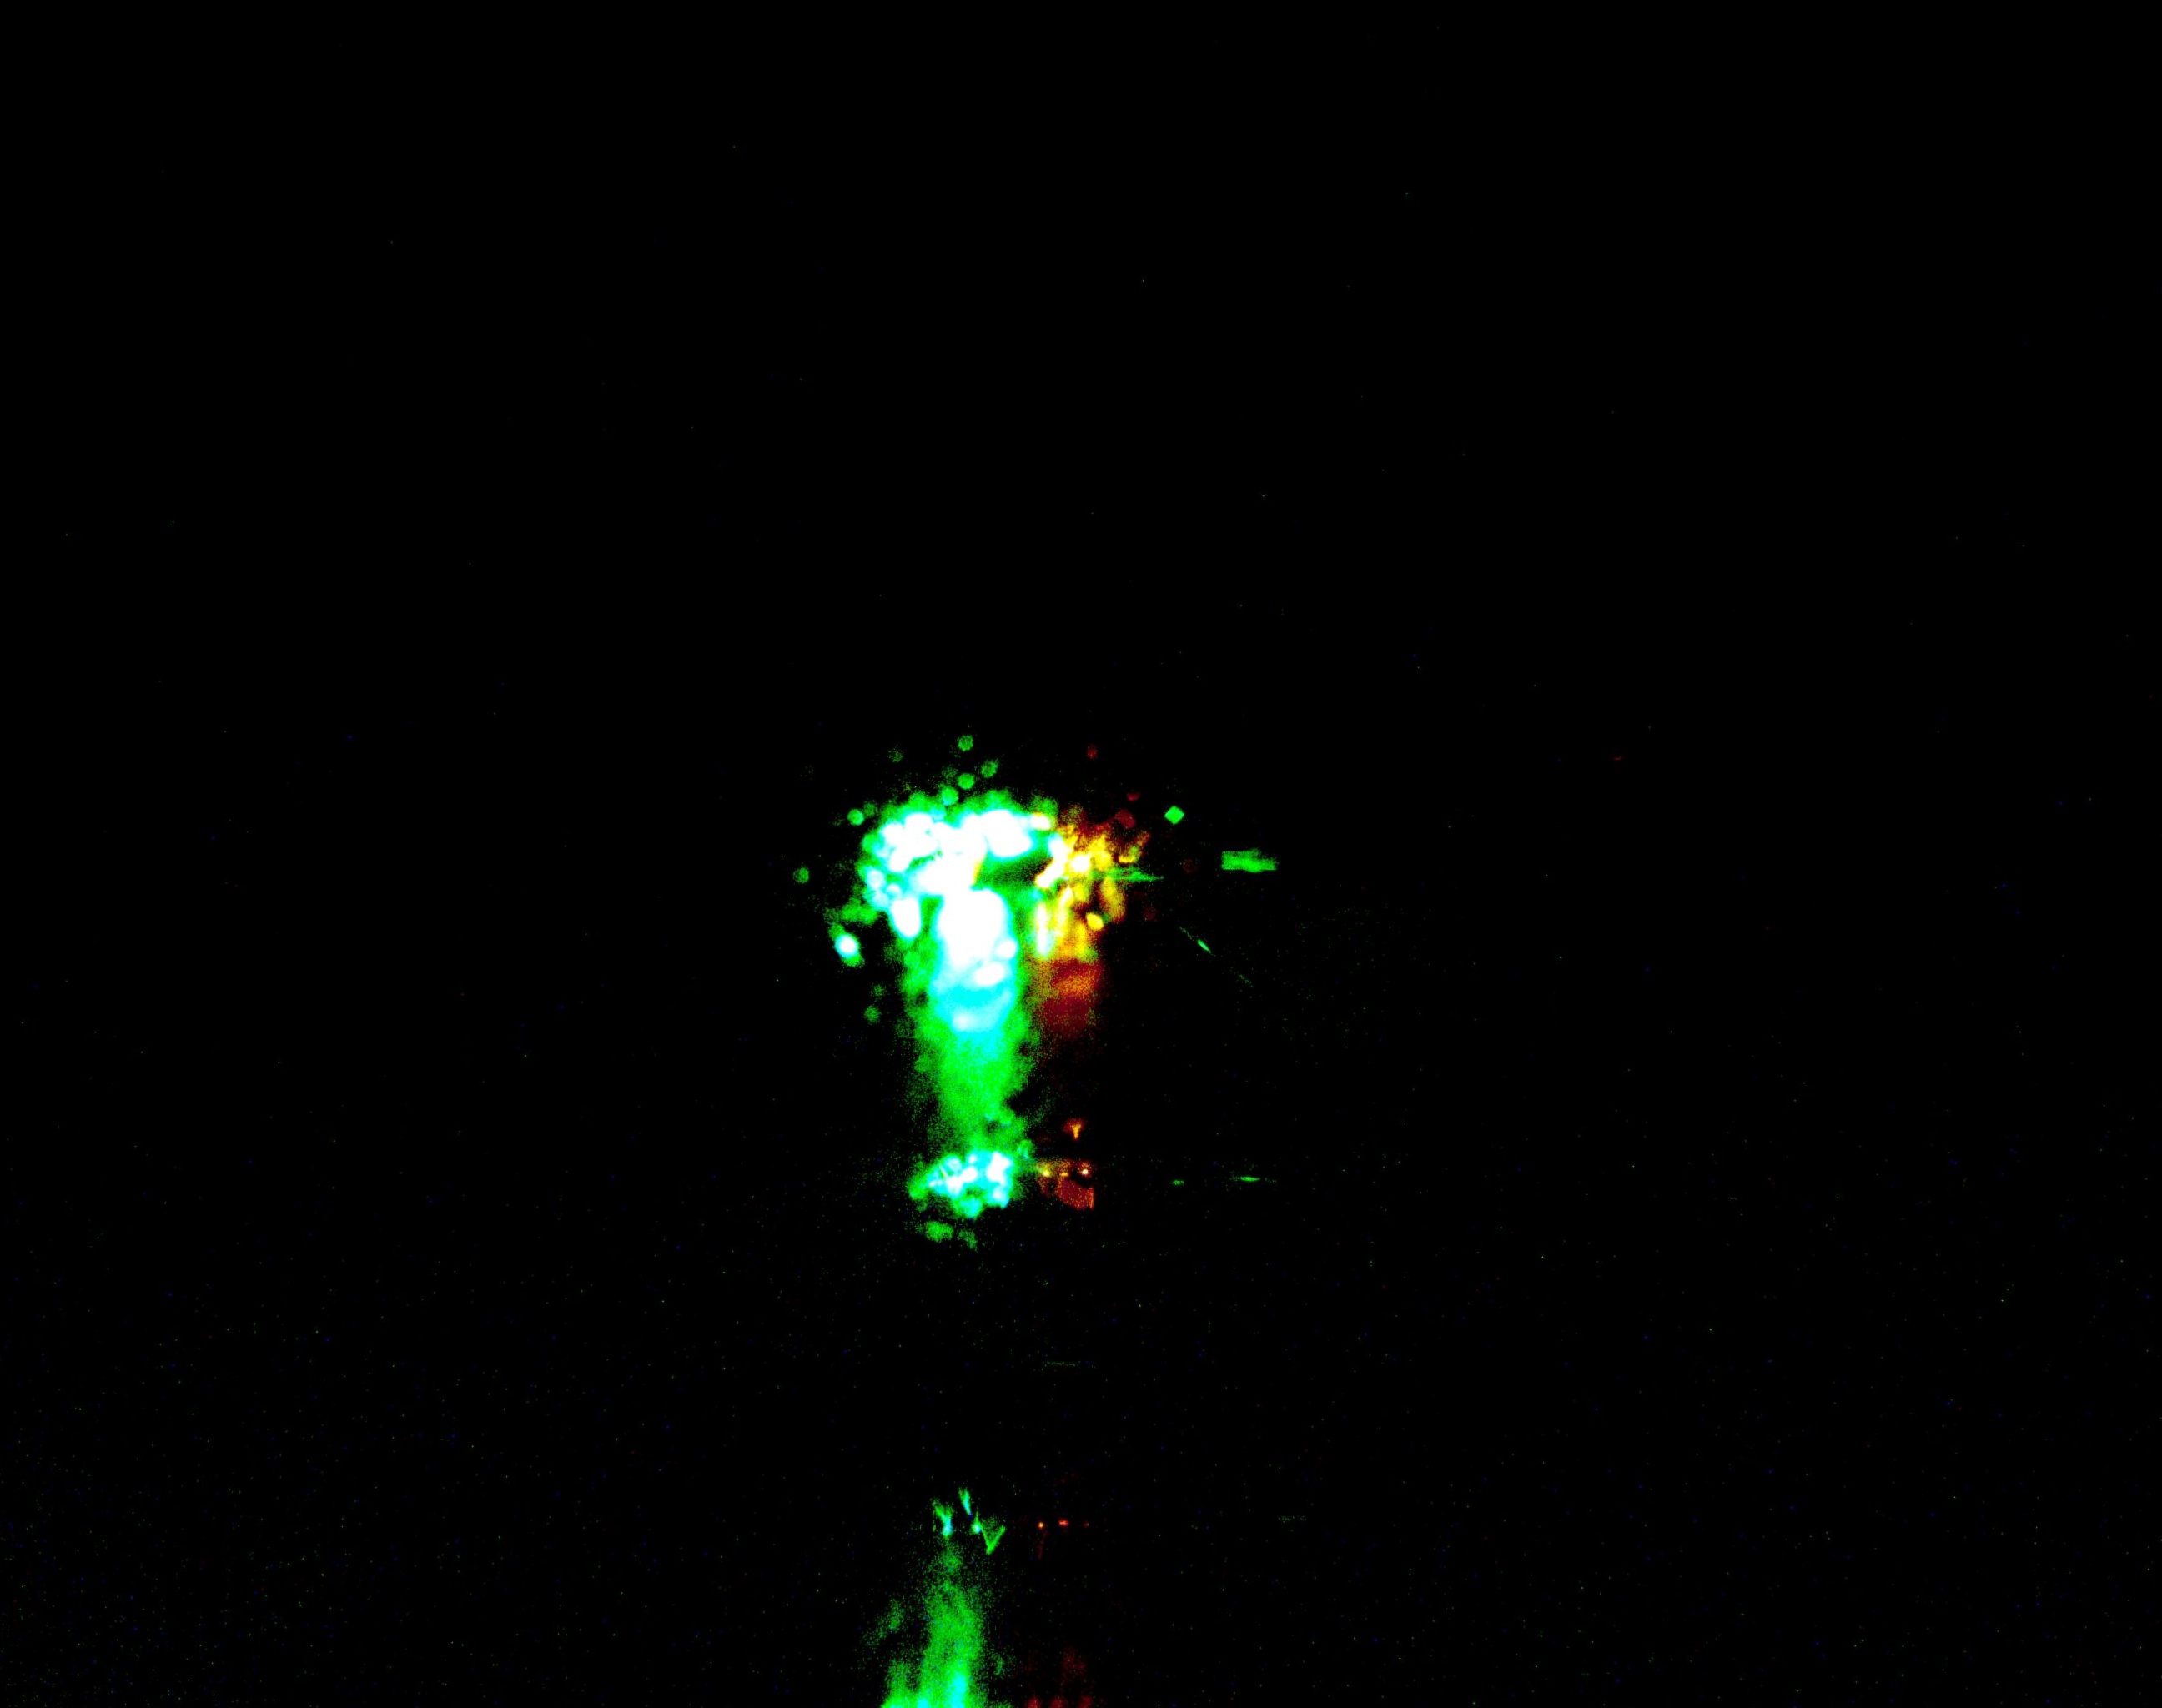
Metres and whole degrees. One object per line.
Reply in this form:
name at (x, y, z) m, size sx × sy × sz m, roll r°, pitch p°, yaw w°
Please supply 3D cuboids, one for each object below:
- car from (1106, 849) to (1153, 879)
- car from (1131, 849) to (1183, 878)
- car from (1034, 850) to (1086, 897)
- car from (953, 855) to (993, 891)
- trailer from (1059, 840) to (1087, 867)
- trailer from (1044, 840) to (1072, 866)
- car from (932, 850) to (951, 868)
car at (3.347, 0.694, 56.849) m, size 1.882 × 2.040 × 4.365 m, roll 1°, pitch -1°, yaw -17°
car at (4.775, 0.602, 51.885) m, size 1.882 × 1.809 × 4.132 m, roll 1°, pitch 0°, yaw -17°
car at (-0.825, 0.668, 29.853) m, size 1.798 × 1.628 × 3.610 m, roll 0°, pitch 0°, yaw -4°
car at (-5.581, 0.972, 42.380) m, size 1.975 × 1.778 × 3.990 m, roll 0°, pitch 0°, yaw -7°
trailer at (-0.781, -0.056, 73.288) m, size 1.606 × 2.352 × 4.413 m, roll 2°, pitch -1°, yaw -12°
trailer at (-2.245, -0.070, 77.932) m, size 1.633 × 2.365 × 4.629 m, roll 2°, pitch -1°, yaw -15°
car at (-16.171, 0.572, 94.393) m, size 1.920 × 2.057 × 4.866 m, roll 1°, pitch 0°, yaw -13°
